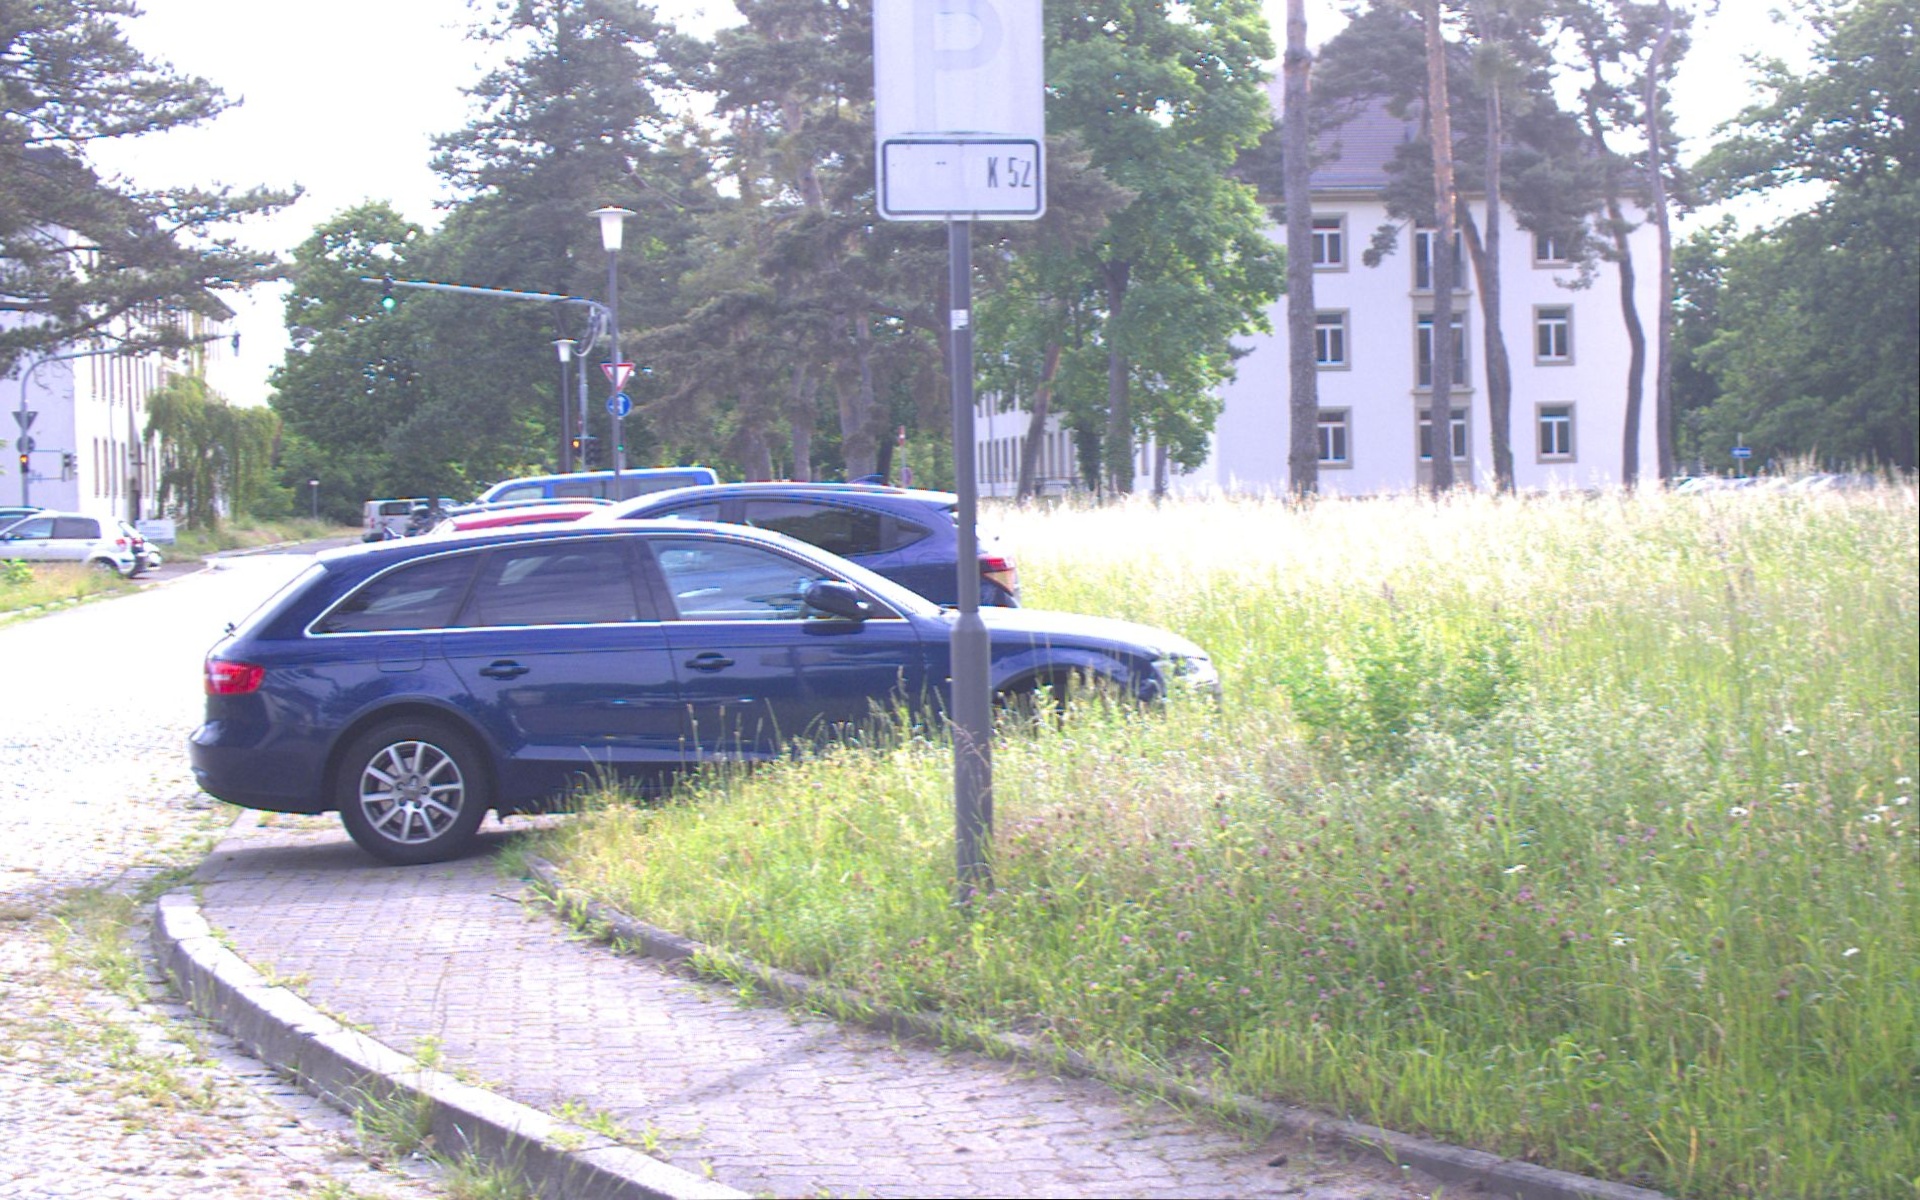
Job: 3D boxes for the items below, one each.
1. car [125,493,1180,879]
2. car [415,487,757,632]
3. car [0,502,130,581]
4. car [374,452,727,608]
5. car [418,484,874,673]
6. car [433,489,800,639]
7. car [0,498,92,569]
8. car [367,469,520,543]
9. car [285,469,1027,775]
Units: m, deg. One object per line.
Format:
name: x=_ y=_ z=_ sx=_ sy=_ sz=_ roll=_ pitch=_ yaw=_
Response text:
car: x=-1.344 y=0.334 z=15.495 sx=4.430 sy=1.474 sz=1.682 roll=-2 pitch=2 yaw=-4
car: x=-4.475 y=-0.500 z=40.934 sx=3.905 sy=1.598 sz=1.822 roll=-1 pitch=2 yaw=-10
car: x=-19.100 y=-1.185 z=70.872 sx=3.719 sy=1.432 sz=1.627 roll=-4 pitch=3 yaw=-11
car: x=-5.930 y=-1.041 z=49.582 sx=4.820 sy=1.859 sz=2.162 roll=-4 pitch=3 yaw=-9
car: x=-2.823 y=-0.215 z=30.643 sx=3.883 sy=1.473 sz=1.672 roll=-3 pitch=2 yaw=-8
car: x=-3.847 y=-0.414 z=38.397 sx=3.940 sy=1.515 sz=1.708 roll=-2 pitch=1 yaw=-7
car: x=-21.147 y=-1.427 z=75.928 sx=3.719 sy=1.432 sz=1.627 roll=-4 pitch=3 yaw=-15
car: x=-20.923 y=-3.825 z=139.165 sx=5.779 sy=2.553 sz=2.771 roll=-5 pitch=3 yaw=-13
car: x=-1.814 y=0.078 z=20.307 sx=4.137 sy=1.567 sz=1.791 roll=-2 pitch=3 yaw=-8
